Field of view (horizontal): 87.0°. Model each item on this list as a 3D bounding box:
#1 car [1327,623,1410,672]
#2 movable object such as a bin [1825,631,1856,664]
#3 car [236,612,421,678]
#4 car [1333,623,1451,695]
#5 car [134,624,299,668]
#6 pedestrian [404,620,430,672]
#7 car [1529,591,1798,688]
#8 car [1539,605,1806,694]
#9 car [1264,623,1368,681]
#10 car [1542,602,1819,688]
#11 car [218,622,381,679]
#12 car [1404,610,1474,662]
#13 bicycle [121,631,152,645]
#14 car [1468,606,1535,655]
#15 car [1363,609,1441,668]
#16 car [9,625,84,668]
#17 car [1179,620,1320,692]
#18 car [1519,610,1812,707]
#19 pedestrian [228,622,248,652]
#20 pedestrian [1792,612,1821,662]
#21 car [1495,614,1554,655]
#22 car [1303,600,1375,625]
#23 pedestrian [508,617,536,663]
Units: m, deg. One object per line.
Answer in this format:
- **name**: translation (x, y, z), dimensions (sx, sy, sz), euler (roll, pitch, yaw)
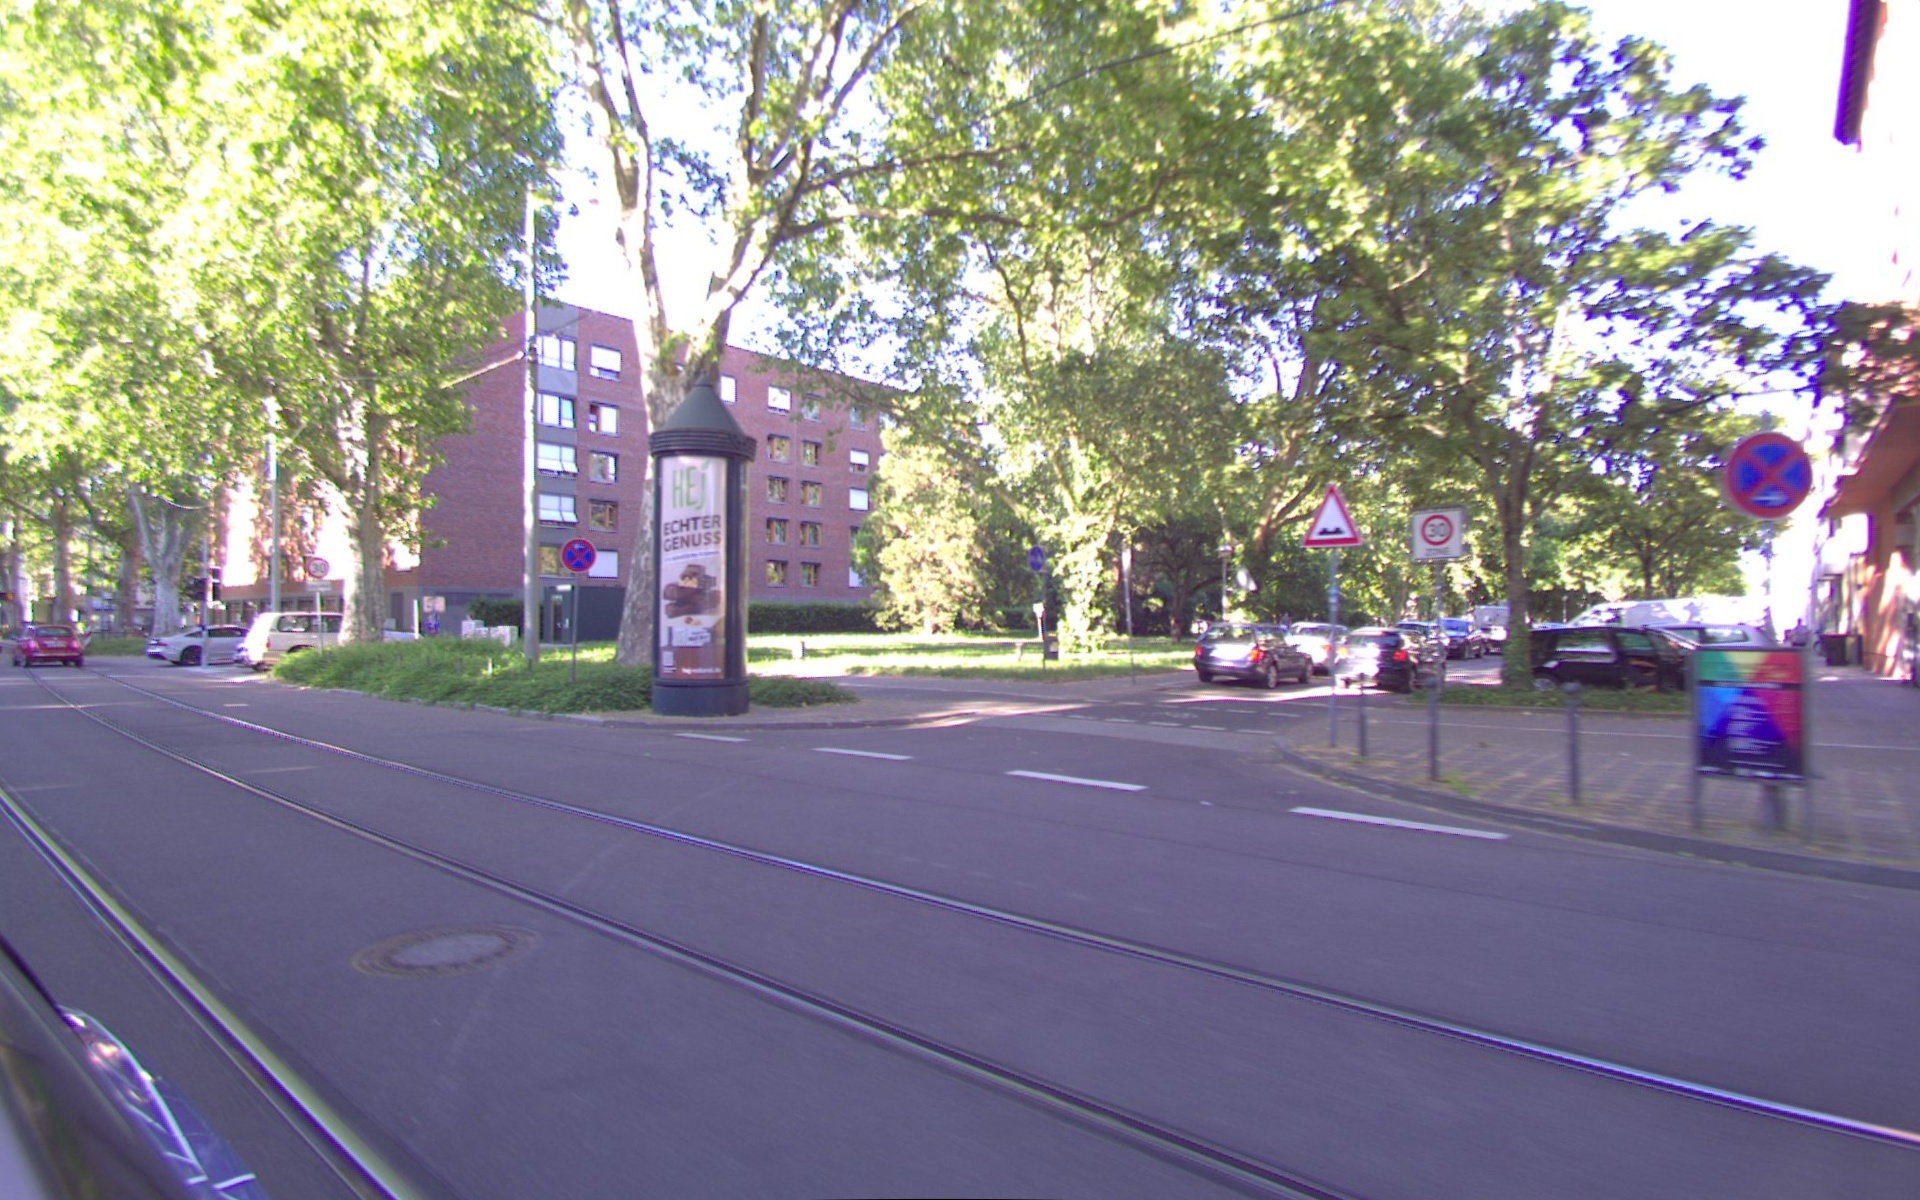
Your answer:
- **car**: translation (13.531, 1.510, 33.415), dimensions (1.685, 1.461, 3.674), euler (-1, -1, 36)
- **movable object such as a bin**: translation (28.509, 1.532, 32.775), dimensions (0.683, 1.033, 0.619), euler (-1, -1, 37)
- **car**: translation (-19.443, 1.329, 31.311), dimensions (1.938, 1.848, 4.522), euler (-1, -1, 41)
- **car**: translation (10.290, 1.323, 23.960), dimensions (1.740, 1.459, 3.951), euler (1, 0, 36)
- **car**: translation (-27.979, 1.693, 38.205), dimensions (1.953, 1.471, 4.716), euler (-1, -1, 40)
- **pedestrian**: translation (-19.267, 1.613, 35.922), dimensions (0.636, 1.823, 0.752), euler (0, -1, -43)
- **car**: translation (16.147, 0.865, 23.468), dimensions (4.912, 2.019, 1.975), euler (-1, -1, 37)
- **car**: translation (13.485, 0.892, 19.448), dimensions (3.988, 1.537, 1.978), euler (-1, -1, 33)
- **car**: translation (10.224, 1.411, 28.870), dimensions (1.819, 1.461, 4.432), euler (-1, -1, 33)
- **car**: translation (14.915, 0.888, 21.297), dimensions (4.543, 1.630, 1.978), euler (-1, -1, 33)
- **car**: translation (-21.508, 1.594, 33.073), dimensions (1.901, 1.659, 4.097), euler (-1, -1, 40)
- **car**: translation (19.867, 1.425, 41.840), dimensions (1.994, 2.029, 4.692), euler (-1, -1, 33)
- **bicycle**: translation (-73.760, 3.359, 90.646), dimensions (2.066, 1.198, 0.883), euler (0, -1, -32)
- **car**: translation (25.792, 1.413, 48.102), dimensions (2.041, 2.214, 4.684), euler (-1, -1, 38)
- **car**: translation (16.203, 1.342, 37.017), dimensions (1.994, 2.029, 3.955), euler (-1, -1, 33)
- **car**: translation (-32.697, 1.622, 36.199), dimensions (3.472, 1.455, 1.643), euler (-1, -1, 42)
- **car**: translation (7.019, 1.253, 24.227), dimensions (1.856, 1.500, 4.487), euler (-1, -1, 36)
- **car**: translation (12.032, 0.952, 17.593), dimensions (3.986, 1.504, 1.799), euler (-1, -1, 32)
- **pedestrian**: translation (-42.581, 2.168, 59.670), dimensions (0.972, 1.757, 0.755), euler (-1, -1, 42)
- **pedestrian**: translation (29.020, 1.254, 34.705), dimensions (0.711, 1.686, 0.769), euler (-1, -1, 39)
- **car**: translation (29.819, 1.789, 53.388), dimensions (1.997, 2.029, 4.684), euler (-1, -1, 38)
- **car**: translation (25.266, 0.820, 67.490), dimensions (1.868, 1.630, 4.109), euler (0, -1, -43)
- **pedestrian**: translation (-16.153, 1.464, 37.319), dimensions (0.779, 1.686, 0.702), euler (-1, -1, 41)
